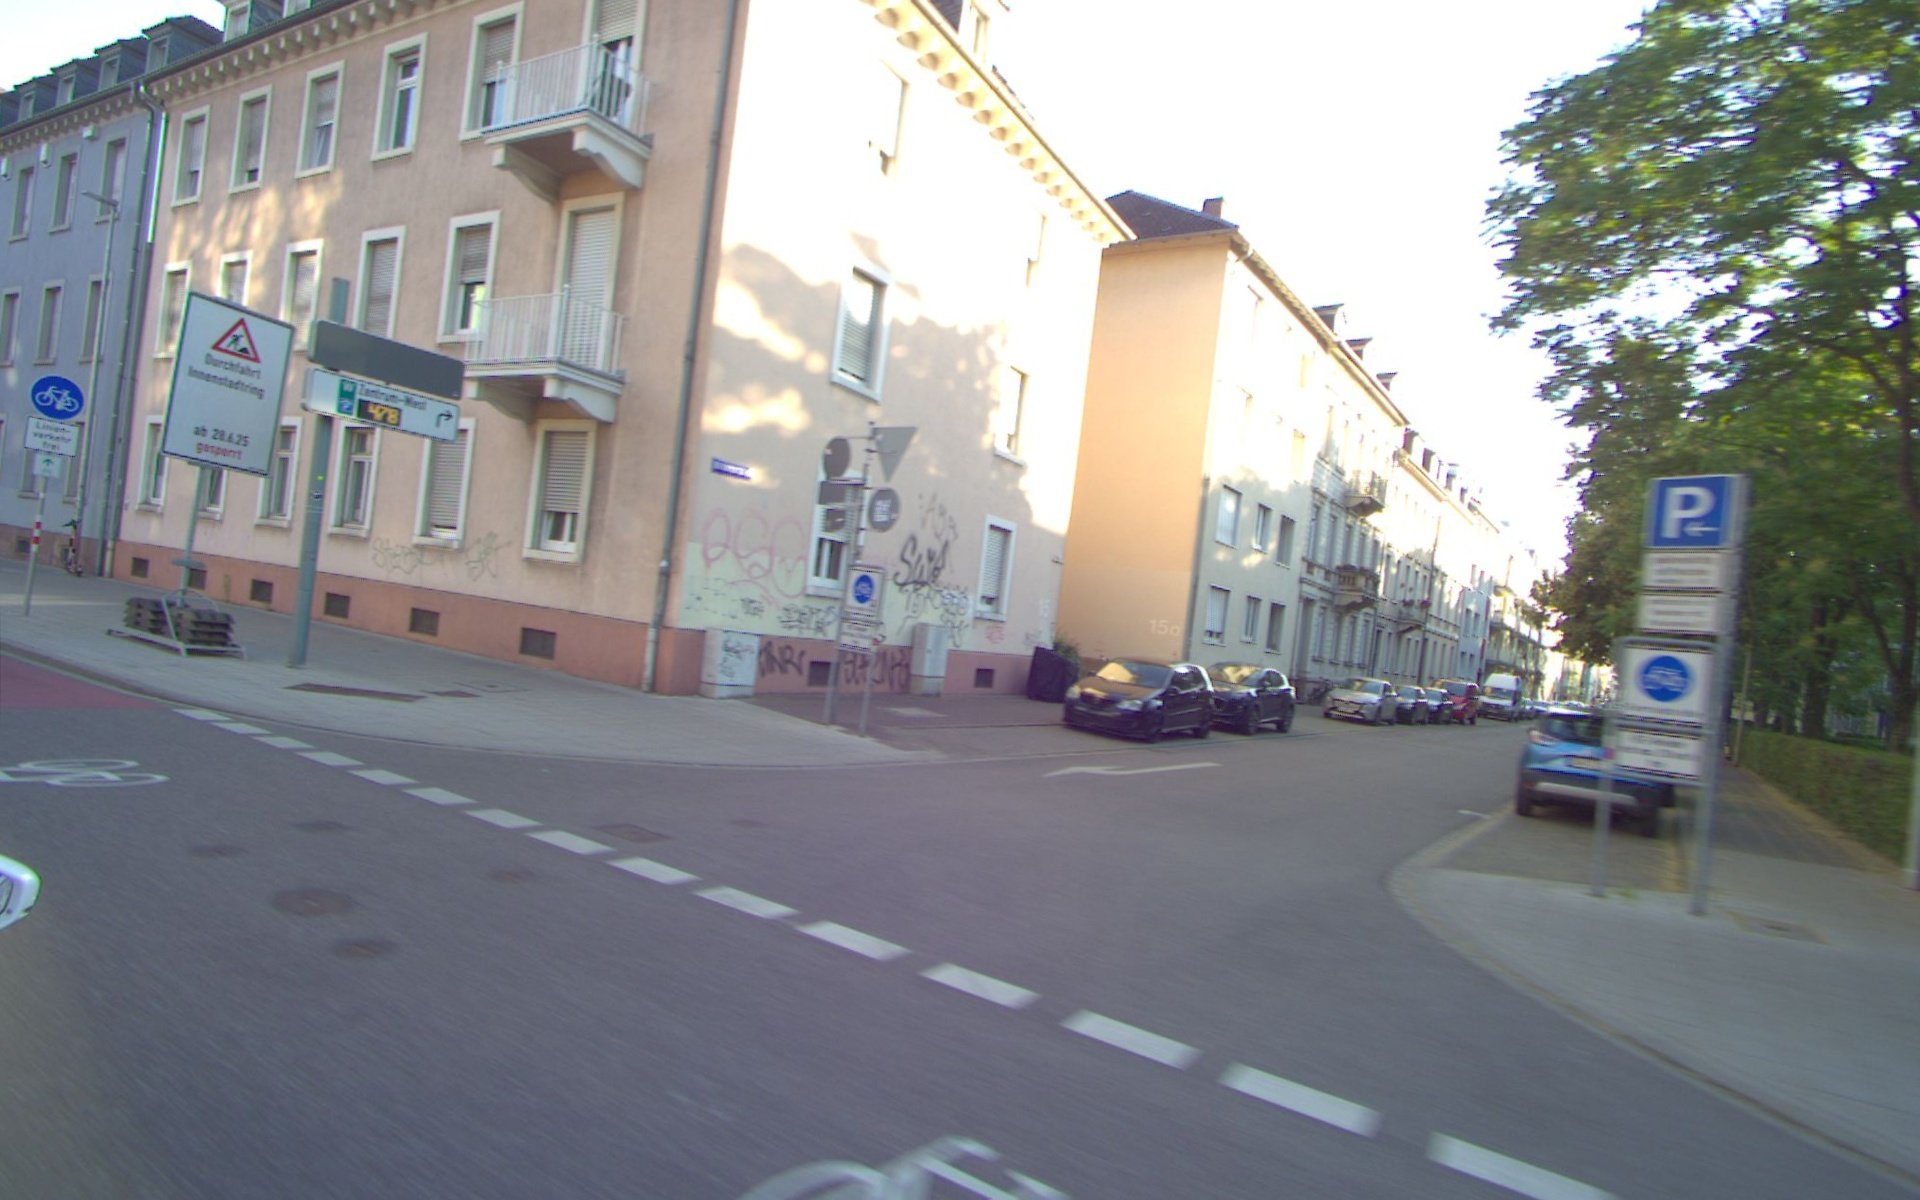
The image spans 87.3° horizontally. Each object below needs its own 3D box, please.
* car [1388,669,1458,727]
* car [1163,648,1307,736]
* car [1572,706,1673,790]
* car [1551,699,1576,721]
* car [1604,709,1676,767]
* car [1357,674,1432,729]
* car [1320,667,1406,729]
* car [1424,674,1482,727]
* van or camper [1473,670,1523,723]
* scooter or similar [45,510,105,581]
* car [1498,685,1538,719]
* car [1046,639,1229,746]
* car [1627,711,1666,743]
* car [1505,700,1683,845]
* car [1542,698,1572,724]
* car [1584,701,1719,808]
[{"bbox_3d":[19.359,4.123,41.939,1.967,2.036,3.994,6,-3,33],"label":"car"},{"bbox_3d":[6.544,2.187,23.649,1.809,1.643,3.989,8,-1,36],"label":"car"},{"bbox_3d":[15.601,3.416,23.833,1.732,1.555,3.922,5,-2,32],"label":"car"},{"bbox_3d":[65.231,11.920,108.761,1.968,2.036,3.993,6,-3,34],"label":"car"},{"bbox_3d":[22.174,4.451,32.862,1.732,1.555,3.710,5,-2,34],"label":"car"},{"bbox_3d":[16.174,3.762,37.317,1.807,1.643,3.993,8,-1,32],"label":"car"},{"bbox_3d":[13.461,3.258,33.472,1.807,1.643,3.993,8,-1,32],"label":"car"},{"bbox_3d":[22.807,4.642,46.468,1.807,2.064,3.993,8,-1,32],"label":"car"},{"bbox_3d":[32.519,5.846,60.738,1.979,2.782,5.193,8,-1,32],"label":"van or camper"},{"bbox_3d":[-20.283,-1.248,23.056,1.648,1.478,0.724,7,2,39],"label":"scooter or similar"},{"bbox_3d":[39.114,7.170,70.431,1.968,2.037,3.992,6,-2,34],"label":"car"},{"bbox_3d":[3.480,1.776,19.169,1.808,1.574,3.991,8,-1,34],"label":"car"},{"bbox_3d":[41.000,7.567,60.123,1.732,1.555,3.710,5,-2,34],"label":"car"},{"bbox_3d":[9.307,2.397,14.886,1.842,1.599,3.922,5,-2,32],"label":"car"},{"bbox_3d":[55.577,10.341,93.561,1.968,2.037,3.991,6,-2,35],"label":"car"},{"bbox_3d":[13.419,2.917,19.741,1.842,1.639,3.922,5,-2,32],"label":"car"}]
